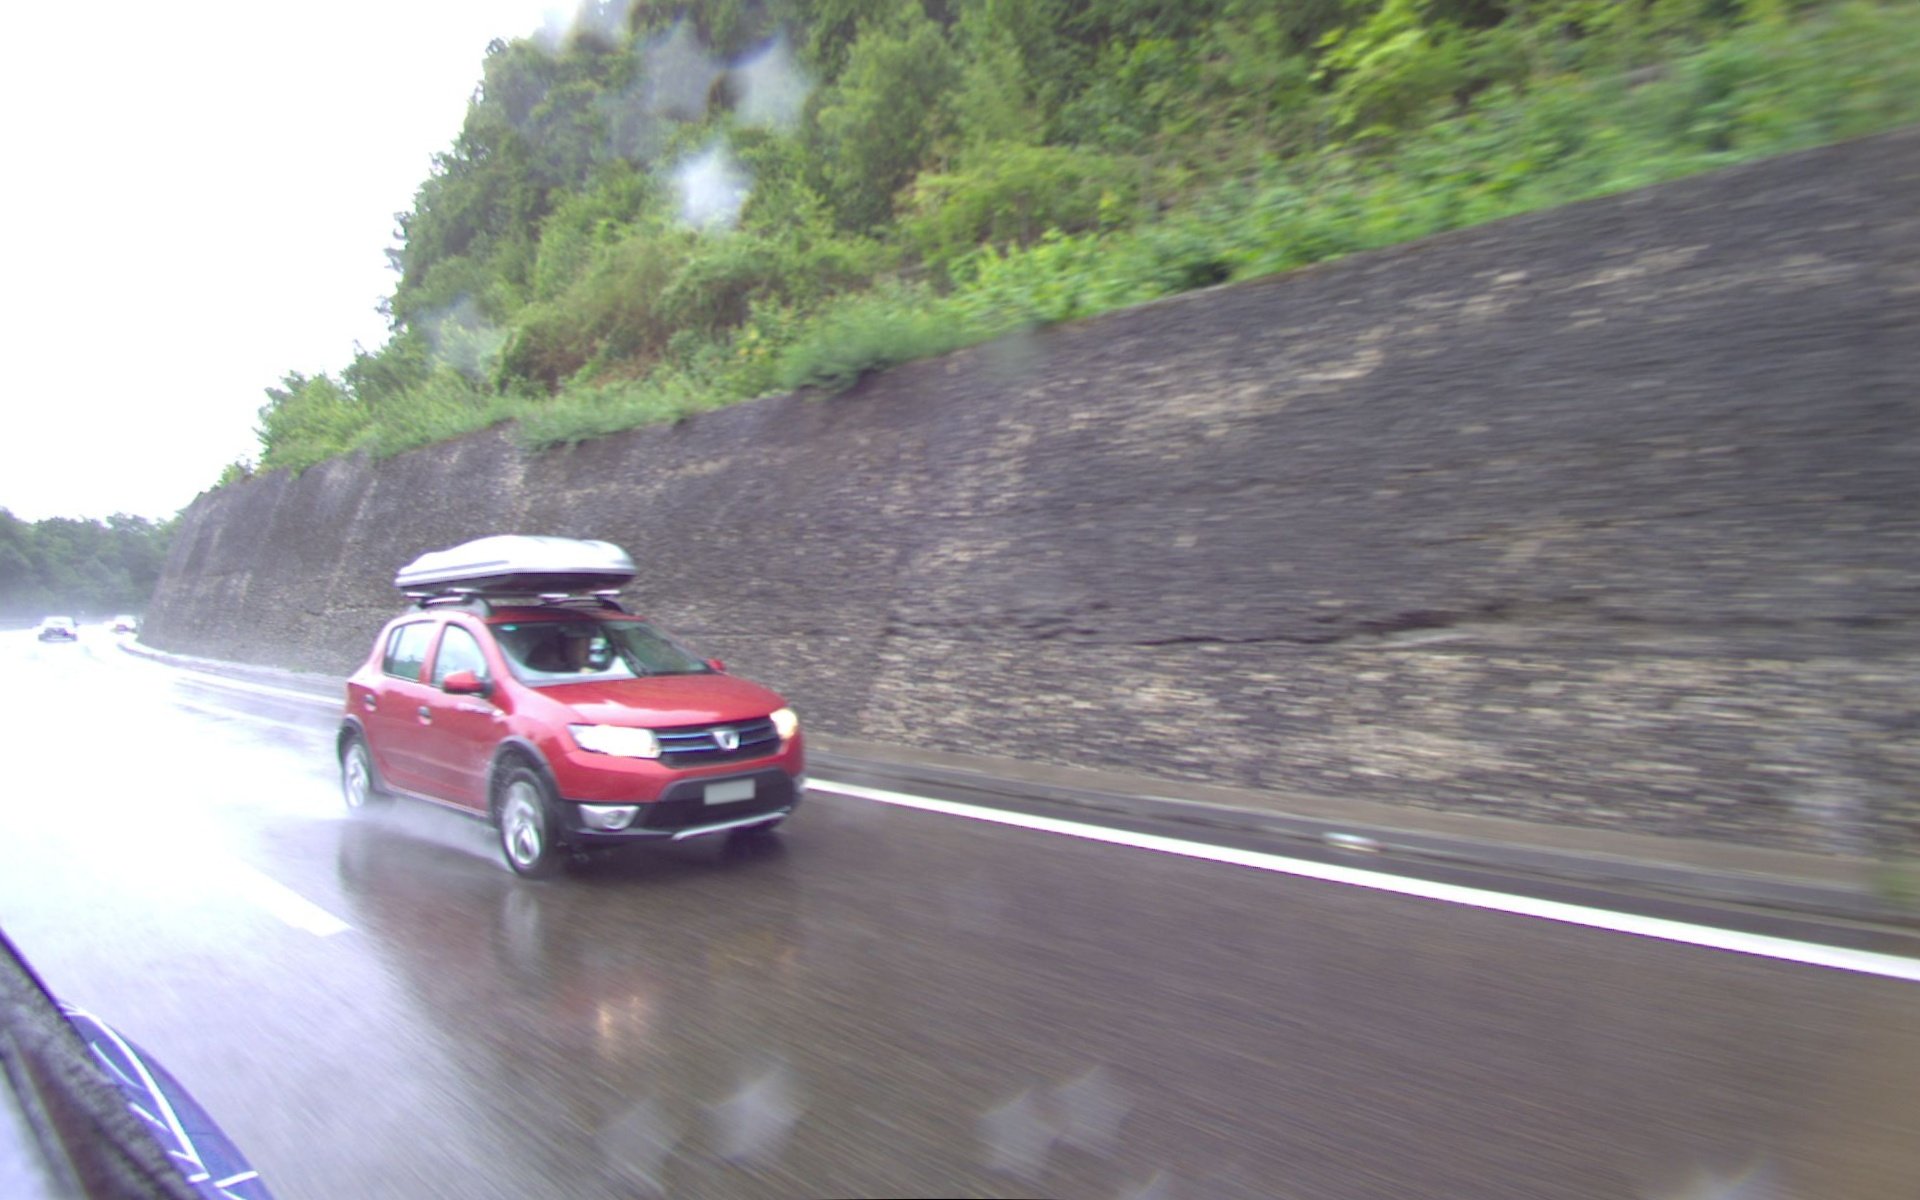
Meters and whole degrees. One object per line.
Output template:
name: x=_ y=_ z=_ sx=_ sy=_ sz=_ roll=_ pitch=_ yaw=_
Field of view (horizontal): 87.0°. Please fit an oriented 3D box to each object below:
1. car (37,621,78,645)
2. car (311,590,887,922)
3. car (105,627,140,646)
car: x=-55.407 y=1.986 z=62.160 sx=1.800 sy=1.393 sz=4.006 roll=0 pitch=-1 yaw=-41
car: x=-2.598 y=0.780 z=6.847 sx=3.998 sy=1.564 sz=1.973 roll=-1 pitch=-2 yaw=41
car: x=-70.449 y=3.058 z=85.152 sx=1.798 sy=1.393 sz=4.011 roll=-2 pitch=1 yaw=-34
